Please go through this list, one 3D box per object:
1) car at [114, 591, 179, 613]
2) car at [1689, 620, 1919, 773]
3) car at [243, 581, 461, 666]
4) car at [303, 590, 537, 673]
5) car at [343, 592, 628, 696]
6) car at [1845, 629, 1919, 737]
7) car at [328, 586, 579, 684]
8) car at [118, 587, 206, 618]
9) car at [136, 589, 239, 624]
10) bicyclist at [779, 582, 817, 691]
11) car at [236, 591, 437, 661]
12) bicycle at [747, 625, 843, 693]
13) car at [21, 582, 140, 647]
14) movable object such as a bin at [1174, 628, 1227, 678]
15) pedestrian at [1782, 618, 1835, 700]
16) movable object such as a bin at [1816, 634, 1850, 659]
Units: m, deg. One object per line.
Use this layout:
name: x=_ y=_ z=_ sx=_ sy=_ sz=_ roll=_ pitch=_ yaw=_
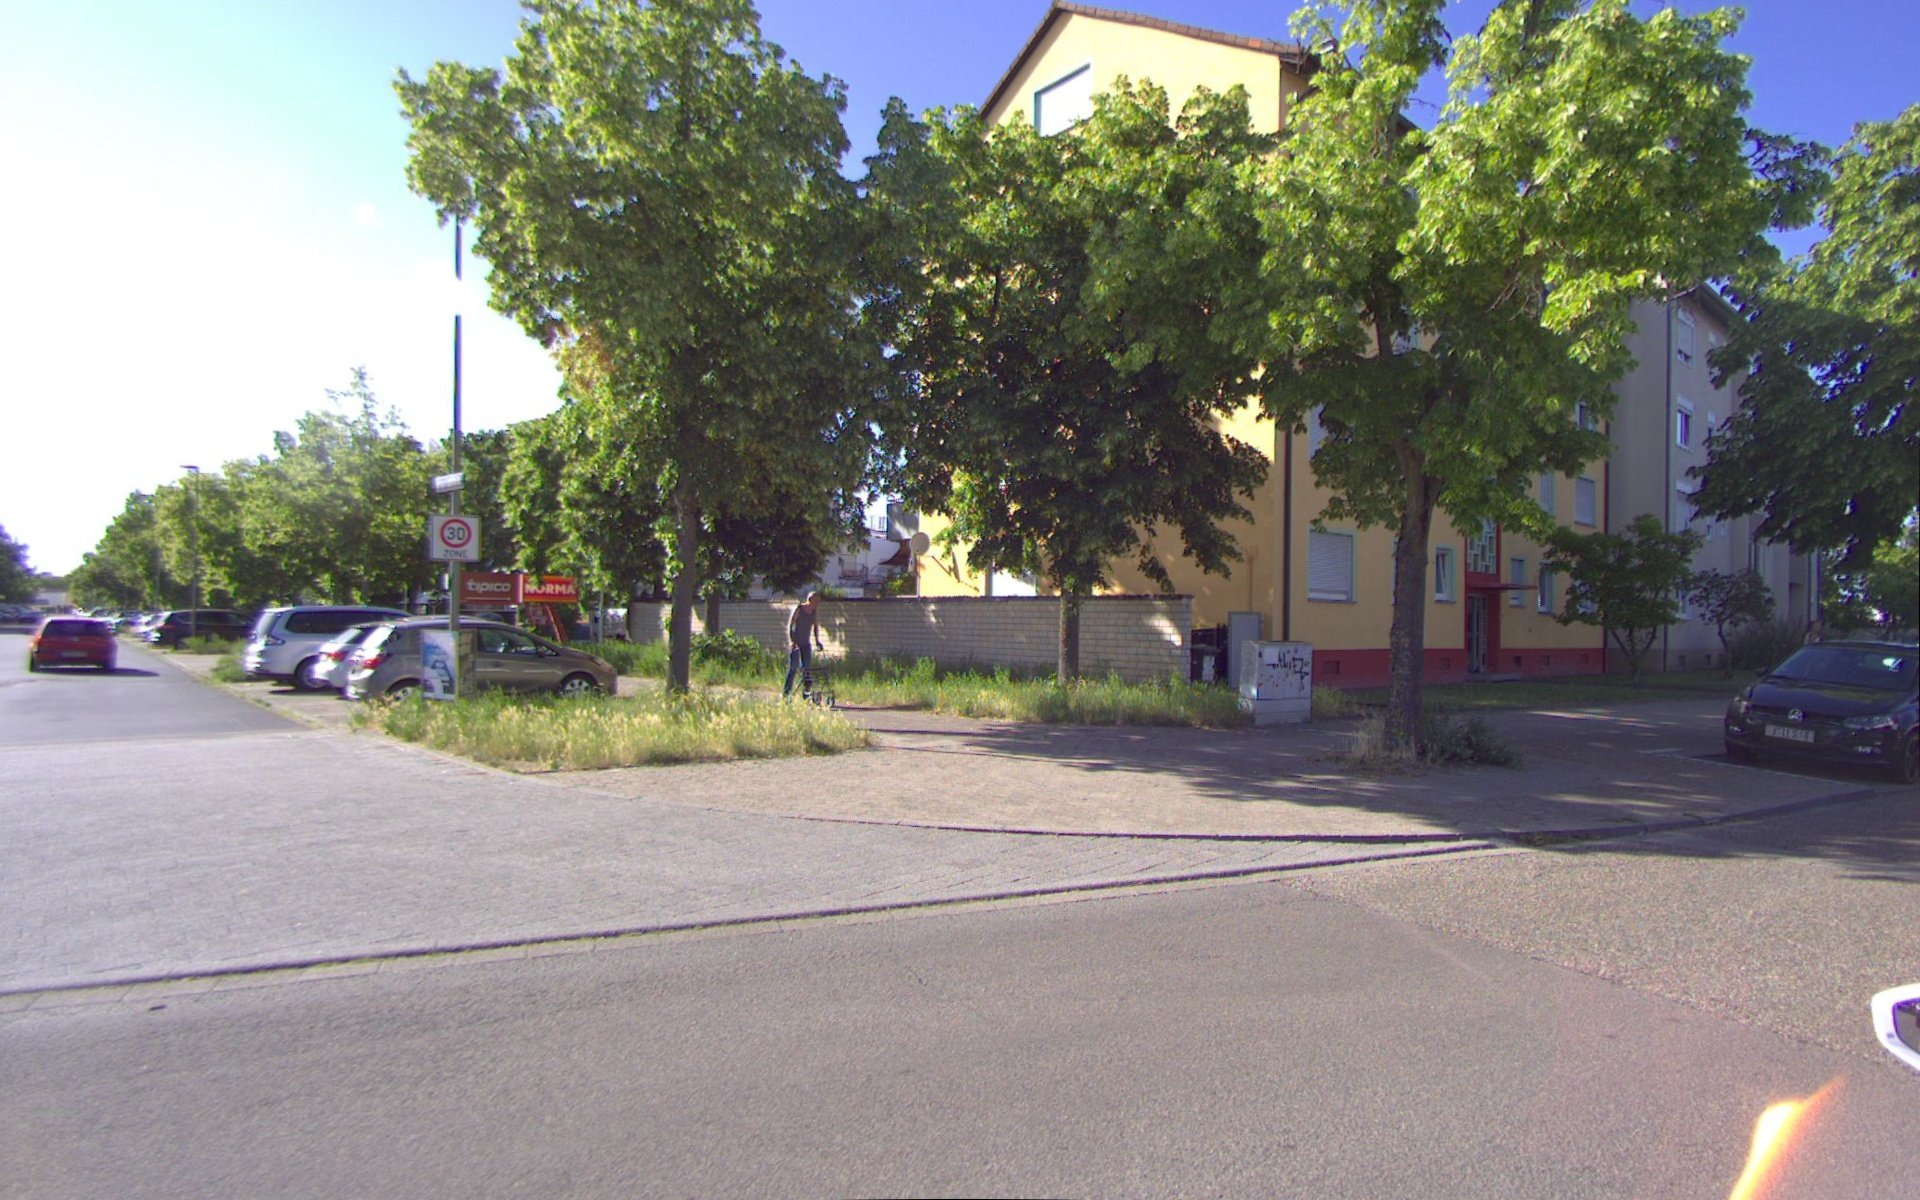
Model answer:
car: x=-65.853 y=0.212 z=81.368 sx=3.972 sy=1.641 sz=1.634 roll=2 pitch=-4 yaw=-43
car: x=10.579 y=1.098 z=12.011 sx=4.010 sy=1.499 sz=1.690 roll=4 pitch=-1 yaw=-33
car: x=-13.203 y=0.514 z=21.924 sx=3.852 sy=1.702 sz=1.682 roll=1 pitch=-2 yaw=-42
car: x=-10.840 y=0.569 z=20.338 sx=1.680 sy=1.483 sz=3.857 roll=-1 pitch=0 yaw=44
car: x=-7.560 y=0.671 z=16.216 sx=3.854 sy=1.483 sz=1.713 roll=1 pitch=-2 yaw=-43
car: x=15.340 y=1.282 z=15.321 sx=4.008 sy=1.542 sz=1.691 roll=3 pitch=-4 yaw=-32
car: x=-9.373 y=0.646 z=18.793 sx=1.680 sy=1.643 sz=3.857 roll=-1 pitch=-2 yaw=44
car: x=-47.226 y=0.177 z=59.493 sx=3.972 sy=1.641 sz=1.634 roll=2 pitch=-4 yaw=-43
car: x=-39.737 y=0.379 z=51.714 sx=1.632 sy=1.641 sz=3.976 roll=-1 pitch=-3 yaw=44
bicyclist: x=-2.586 y=0.581 z=16.074 sx=0.382 sy=1.707 sz=0.382 roll=0 pitch=-3 yaw=29
car: x=-14.665 y=0.602 z=23.758 sx=3.852 sy=1.525 sz=1.488 roll=1 pitch=-2 yaw=-42
bicycle: x=-2.652 y=0.927 z=16.077 sx=1.593 sy=1.024 sz=0.406 roll=0 pitch=-1 yaw=29
car: x=-23.961 y=0.385 z=27.325 sx=4.332 sy=1.589 sz=2.007 roll=0 pitch=-2 yaw=44
movable object such as a bin: x=4.571 y=1.000 z=19.094 sx=0.739 sy=0.923 sz=0.691 roll=1 pitch=-2 yaw=-38
pedestrian: x=18.547 y=1.281 z=21.956 sx=0.712 sy=1.740 sz=0.682 roll=4 pitch=-3 yaw=-30
movable object such as a bin: x=52.400 y=2.779 z=60.293 sx=1.502 sy=1.446 sz=1.082 roll=-1 pitch=-4 yaw=44
